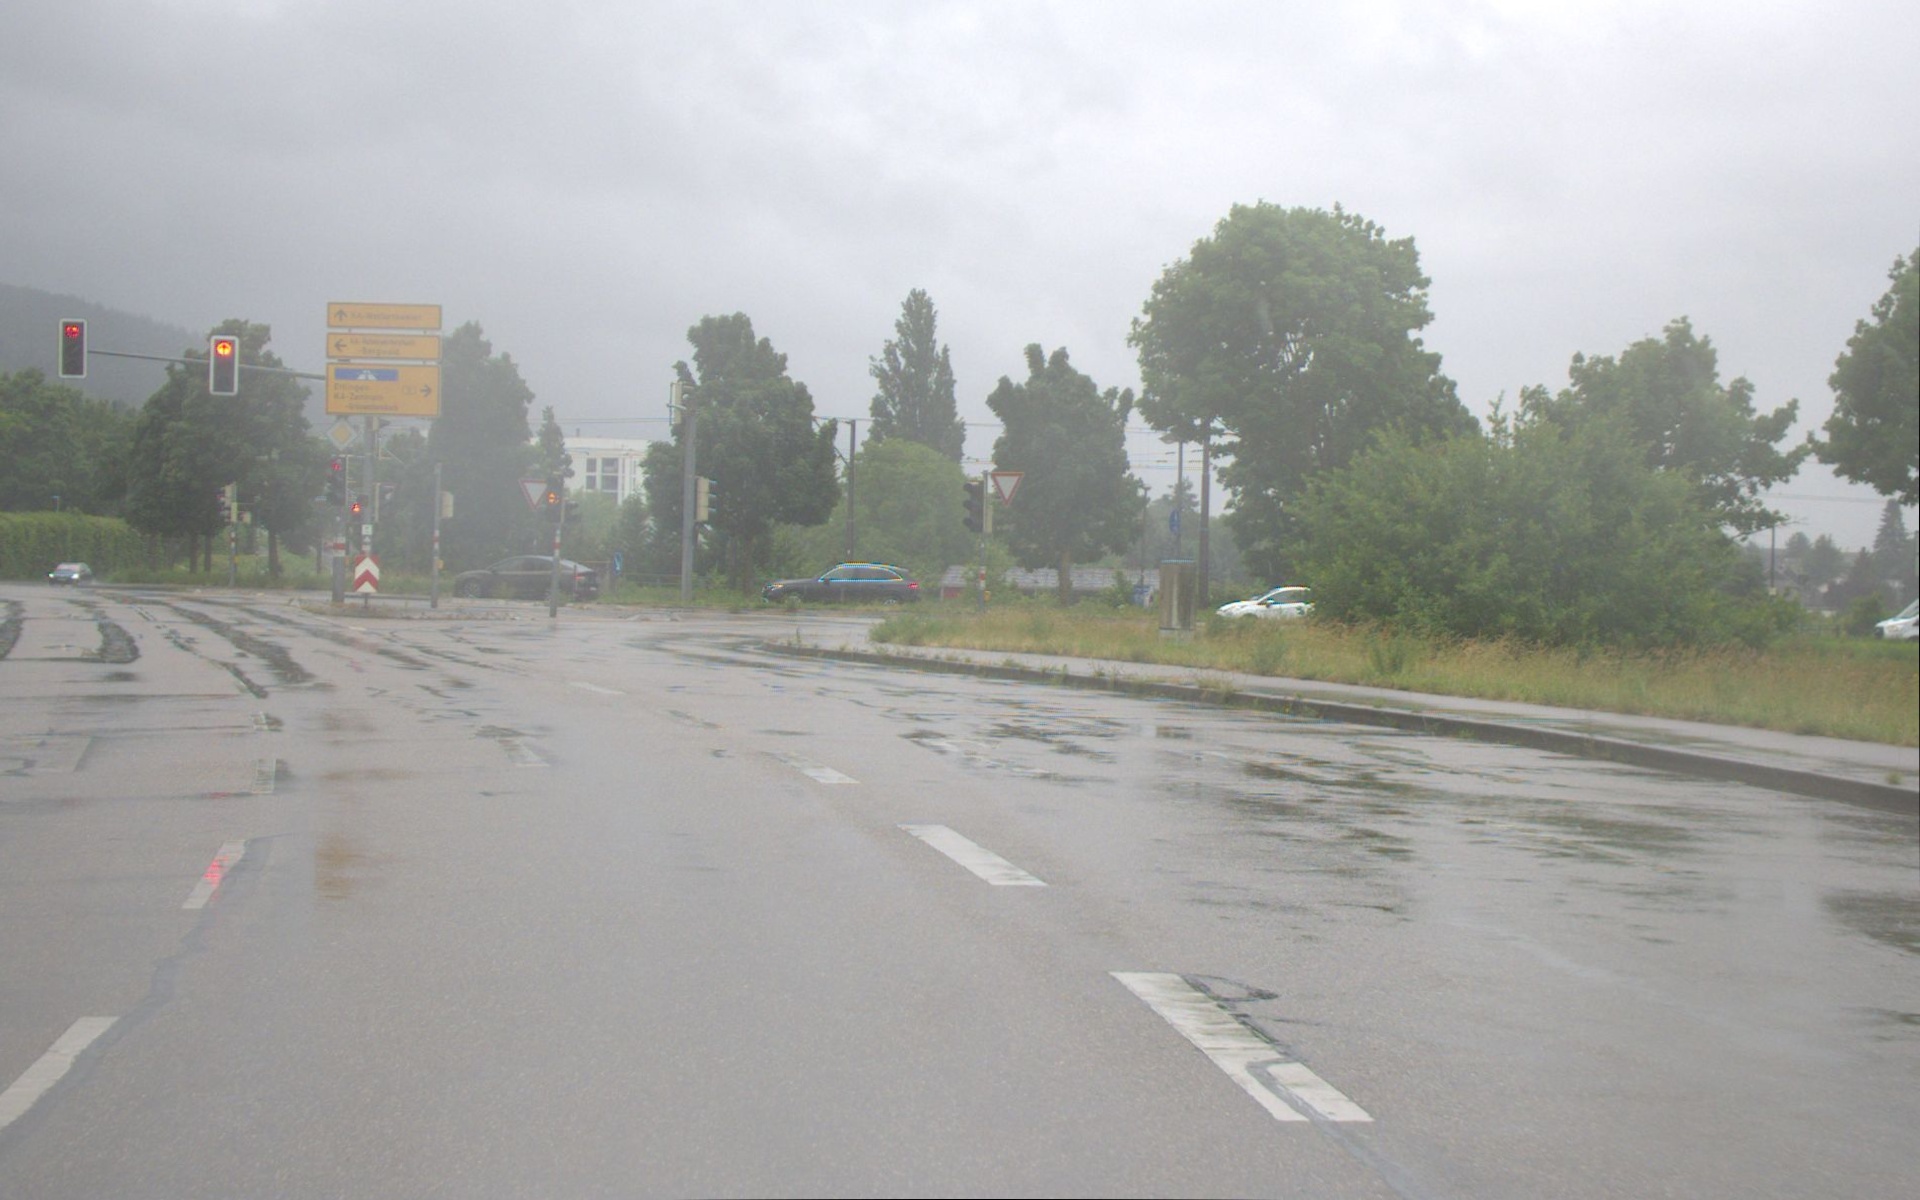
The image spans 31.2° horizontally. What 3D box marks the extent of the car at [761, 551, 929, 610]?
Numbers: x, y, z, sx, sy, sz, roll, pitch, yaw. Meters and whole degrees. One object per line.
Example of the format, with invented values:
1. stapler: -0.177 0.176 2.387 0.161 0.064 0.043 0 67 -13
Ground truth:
1. car: -3.397 -0.581 101.160 4.668 1.633 1.823 1 1 -12

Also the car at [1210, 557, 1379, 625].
1. car: 10.003 -0.265 103.062 4.668 1.909 1.916 1 1 -9
